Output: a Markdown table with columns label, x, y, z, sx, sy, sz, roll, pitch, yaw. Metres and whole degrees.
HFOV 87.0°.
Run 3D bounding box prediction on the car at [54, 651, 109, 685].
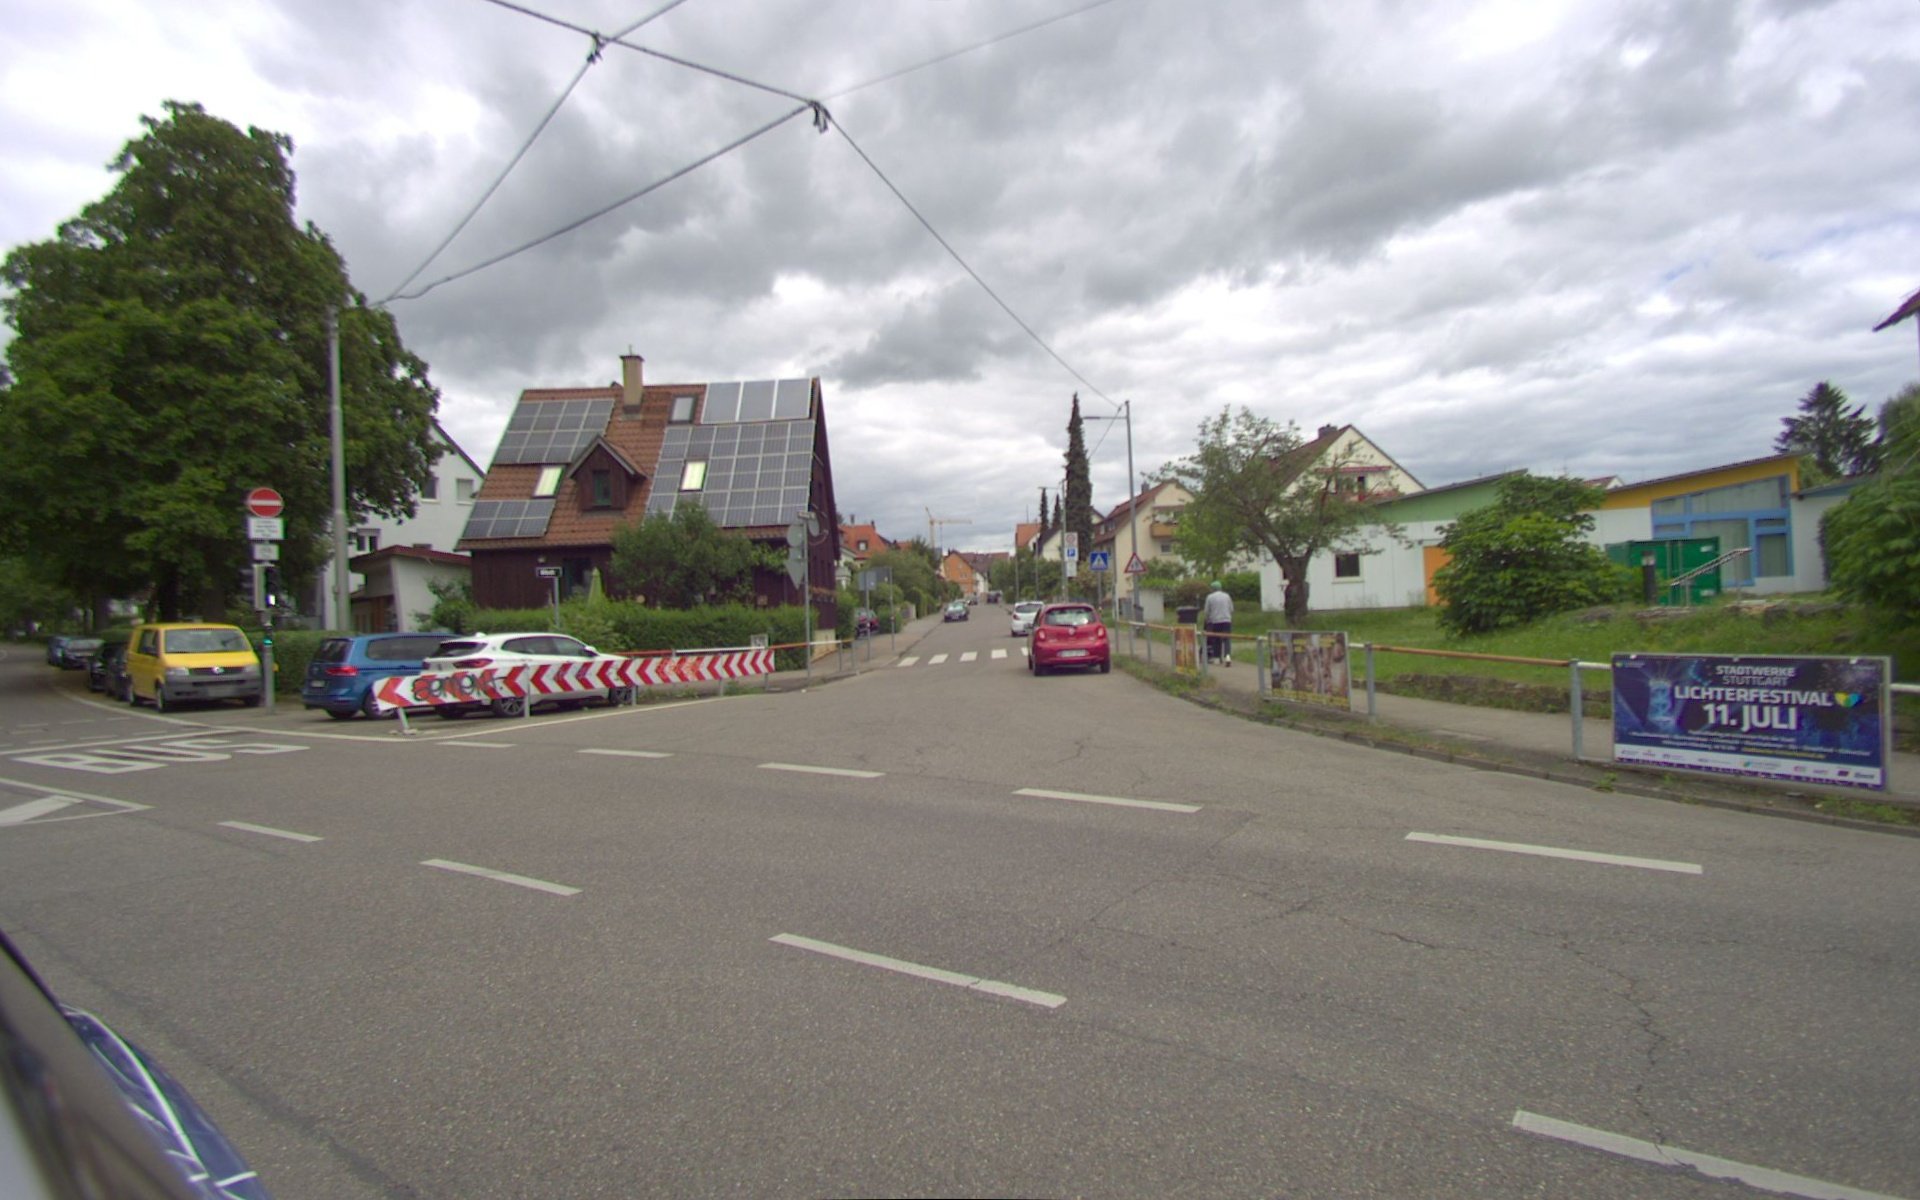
| label | x | y | z | sx | sy | sz | roll | pitch | yaw |
| --- | --- | --- | --- | --- | --- | --- | --- | --- | --- |
| car | -40.068 | 3.070 | 46.165 | 1.825 | 1.387 | 4.600 | -1 | -2 | -41 |

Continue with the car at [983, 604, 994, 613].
| label | x | y | z | sx | sy | sz | roll | pitch | yaw |
| --- | --- | --- | --- | --- | --- | --- | --- | --- | --- |
| car | 5.173 | 1.611 | 185.240 | 1.750 | 1.501 | 3.684 | -3 | -2 | 0 |

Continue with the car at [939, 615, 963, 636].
| label | x | y | z | sx | sy | sz | roll | pitch | yaw |
| --- | --- | --- | --- | --- | --- | --- | --- | --- | --- |
| car | -0.726 | 1.944 | 78.334 | 1.750 | 1.501 | 3.684 | -3 | -2 | 0 |

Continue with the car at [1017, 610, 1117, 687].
| label | x | y | z | sx | sy | sz | roll | pitch | yaw |
| --- | --- | --- | --- | --- | --- | --- | --- | --- | --- |
| car | 2.306 | 1.050 | 22.733 | 1.750 | 1.501 | 3.684 | -3 | -2 | 0 |

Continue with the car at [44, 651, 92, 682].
| label | x | y | z | sx | sy | sz | roll | pitch | yaw |
| --- | --- | --- | --- | --- | --- | --- | --- | --- | --- |
| car | -44.417 | 3.286 | 50.371 | 1.614 | 1.387 | 4.154 | 0 | -2 | -44 |

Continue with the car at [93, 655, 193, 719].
| label | x | y | z | sx | sy | sz | roll | pitch | yaw |
| --- | --- | --- | --- | --- | --- | --- | --- | --- | --- |
| car | -22.486 | 2.312 | 27.791 | 1.725 | 1.461 | 4.517 | -1 | -1 | -44 |

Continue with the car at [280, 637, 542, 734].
| label | x | y | z | sx | sy | sz | roll | pitch | yaw |
| --- | --- | --- | --- | --- | --- | --- | --- | --- | --- |
| car | -10.640 | 1.600 | 19.868 | 1.842 | 1.558 | 4.128 | -4 | -2 | 36 |

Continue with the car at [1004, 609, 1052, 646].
| label | x | y | z | sx | sy | sz | roll | pitch | yaw |
| --- | --- | --- | --- | --- | --- | --- | --- | --- | --- |
| car | 2.953 | 1.210 | 44.325 | 1.750 | 1.501 | 3.684 | -3 | -2 | 0 |

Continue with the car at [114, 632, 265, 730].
| label | x | y | z | sx | sy | sz | roll | pitch | yaw |
| --- | --- | --- | --- | --- | --- | --- | --- | --- | --- |
| car | -18.104 | 1.818 | 23.695 | 4.797 | 2.004 | 1.896 | -3 | -1 | 41 |

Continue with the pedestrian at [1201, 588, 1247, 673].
| label | x | y | z | sx | sy | sz | roll | pitch | yaw |
| --- | --- | --- | --- | --- | --- | --- | --- | --- | --- |
| pedestrian | 5.315 | 0.601 | 20.418 | 0.680 | 1.665 | 0.830 | -2 | 1 | 3 |

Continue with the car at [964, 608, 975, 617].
| label | x | y | z | sx | sy | sz | roll | pitch | yaw |
| --- | --- | --- | --- | --- | --- | --- | --- | --- | --- |
| car | 1.665 | 2.214 | 177.566 | 1.750 | 1.501 | 3.684 | -3 | -2 | 0 |

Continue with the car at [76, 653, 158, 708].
| label | x | y | z | sx | sy | sz | roll | pitch | yaw |
| --- | --- | --- | --- | --- | --- | --- | --- | --- | --- |
| car | -26.141 | 2.429 | 31.322 | 1.724 | 1.461 | 4.598 | -1 | -1 | -43 |

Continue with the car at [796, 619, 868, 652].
| label | x | y | z | sx | sy | sz | roll | pitch | yaw |
| --- | --- | --- | --- | --- | --- | --- | --- | --- | --- |
| car | -6.417 | 1.771 | 51.069 | 3.394 | 1.501 | 1.590 | -3 | -2 | 1 |

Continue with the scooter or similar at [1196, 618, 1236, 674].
| label | x | y | z | sx | sy | sz | roll | pitch | yaw |
| --- | --- | --- | --- | --- | --- | --- | --- | --- | --- |
| scooter or similar | 5.379 | 0.961 | 21.316 | 0.604 | 1.103 | 0.889 | -2 | 1 | 3 |

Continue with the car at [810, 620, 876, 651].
| label | x | y | z | sx | sy | sz | roll | pitch | yaw |
| --- | --- | --- | --- | --- | --- | --- | --- | --- | --- |
| car | -6.454 | 1.954 | 55.896 | 3.394 | 1.501 | 1.590 | -3 | -2 | 1 |

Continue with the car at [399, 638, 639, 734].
| label | x | y | z | sx | sy | sz | roll | pitch | yaw |
| --- | --- | --- | --- | --- | --- | --- | --- | --- | --- |
| car | -8.215 | 1.563 | 19.188 | 1.837 | 1.483 | 3.867 | -3 | -2 | 28 |
